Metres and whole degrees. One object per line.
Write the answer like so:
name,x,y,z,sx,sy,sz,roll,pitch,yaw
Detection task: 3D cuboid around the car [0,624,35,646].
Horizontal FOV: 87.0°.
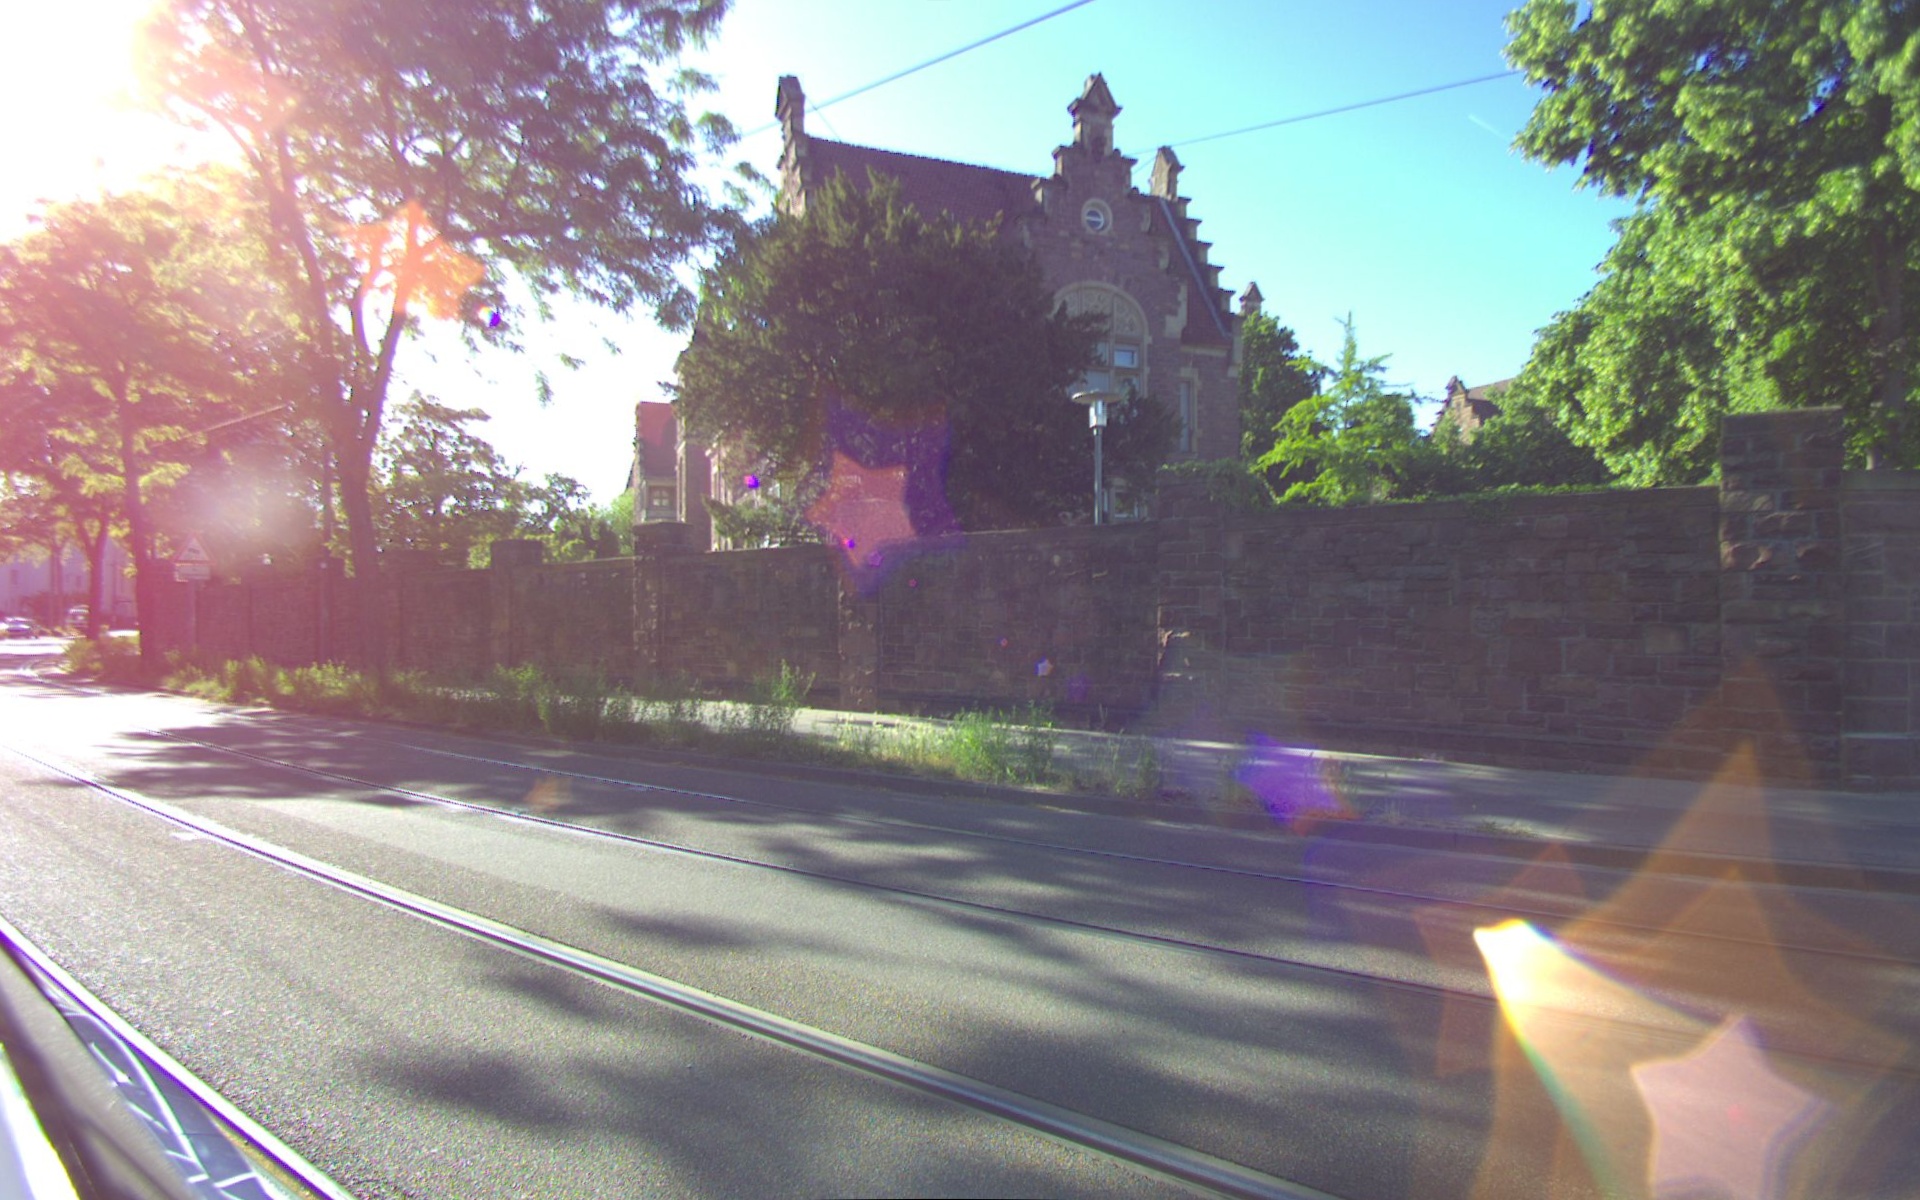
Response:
car,-68.875,2.516,73.855,1.969,1.560,4.005,0,-1,-41
